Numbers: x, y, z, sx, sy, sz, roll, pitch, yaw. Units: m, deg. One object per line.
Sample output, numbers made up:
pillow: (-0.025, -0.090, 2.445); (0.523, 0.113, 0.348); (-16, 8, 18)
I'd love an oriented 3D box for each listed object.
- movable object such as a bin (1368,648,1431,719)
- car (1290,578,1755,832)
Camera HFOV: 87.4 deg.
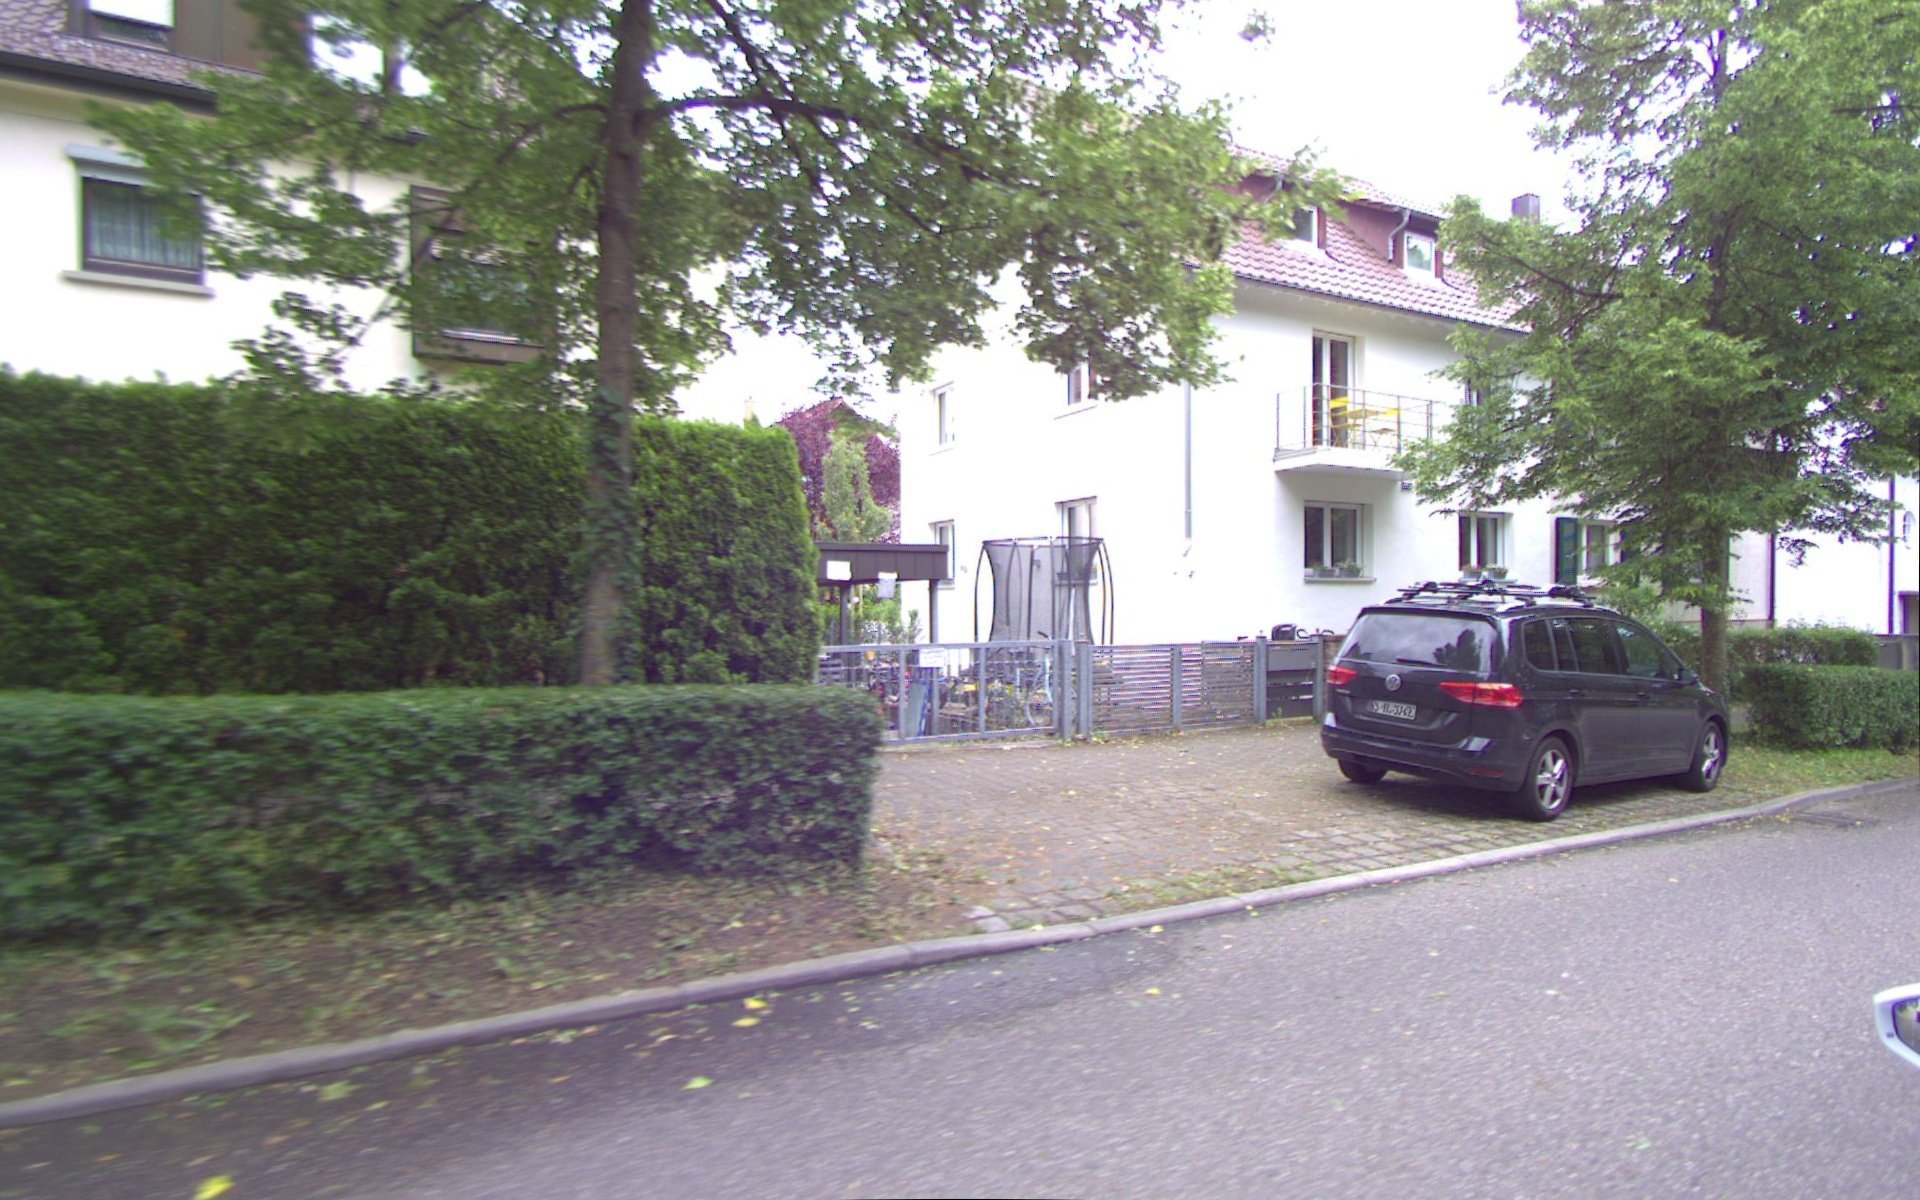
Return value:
movable object such as a bin: (6.162, 1.153, 14.084); (0.634, 0.953, 0.556); (1, -1, -35)
car: (5.148, 0.767, 9.015); (4.406, 1.777, 1.814); (1, 0, -33)
